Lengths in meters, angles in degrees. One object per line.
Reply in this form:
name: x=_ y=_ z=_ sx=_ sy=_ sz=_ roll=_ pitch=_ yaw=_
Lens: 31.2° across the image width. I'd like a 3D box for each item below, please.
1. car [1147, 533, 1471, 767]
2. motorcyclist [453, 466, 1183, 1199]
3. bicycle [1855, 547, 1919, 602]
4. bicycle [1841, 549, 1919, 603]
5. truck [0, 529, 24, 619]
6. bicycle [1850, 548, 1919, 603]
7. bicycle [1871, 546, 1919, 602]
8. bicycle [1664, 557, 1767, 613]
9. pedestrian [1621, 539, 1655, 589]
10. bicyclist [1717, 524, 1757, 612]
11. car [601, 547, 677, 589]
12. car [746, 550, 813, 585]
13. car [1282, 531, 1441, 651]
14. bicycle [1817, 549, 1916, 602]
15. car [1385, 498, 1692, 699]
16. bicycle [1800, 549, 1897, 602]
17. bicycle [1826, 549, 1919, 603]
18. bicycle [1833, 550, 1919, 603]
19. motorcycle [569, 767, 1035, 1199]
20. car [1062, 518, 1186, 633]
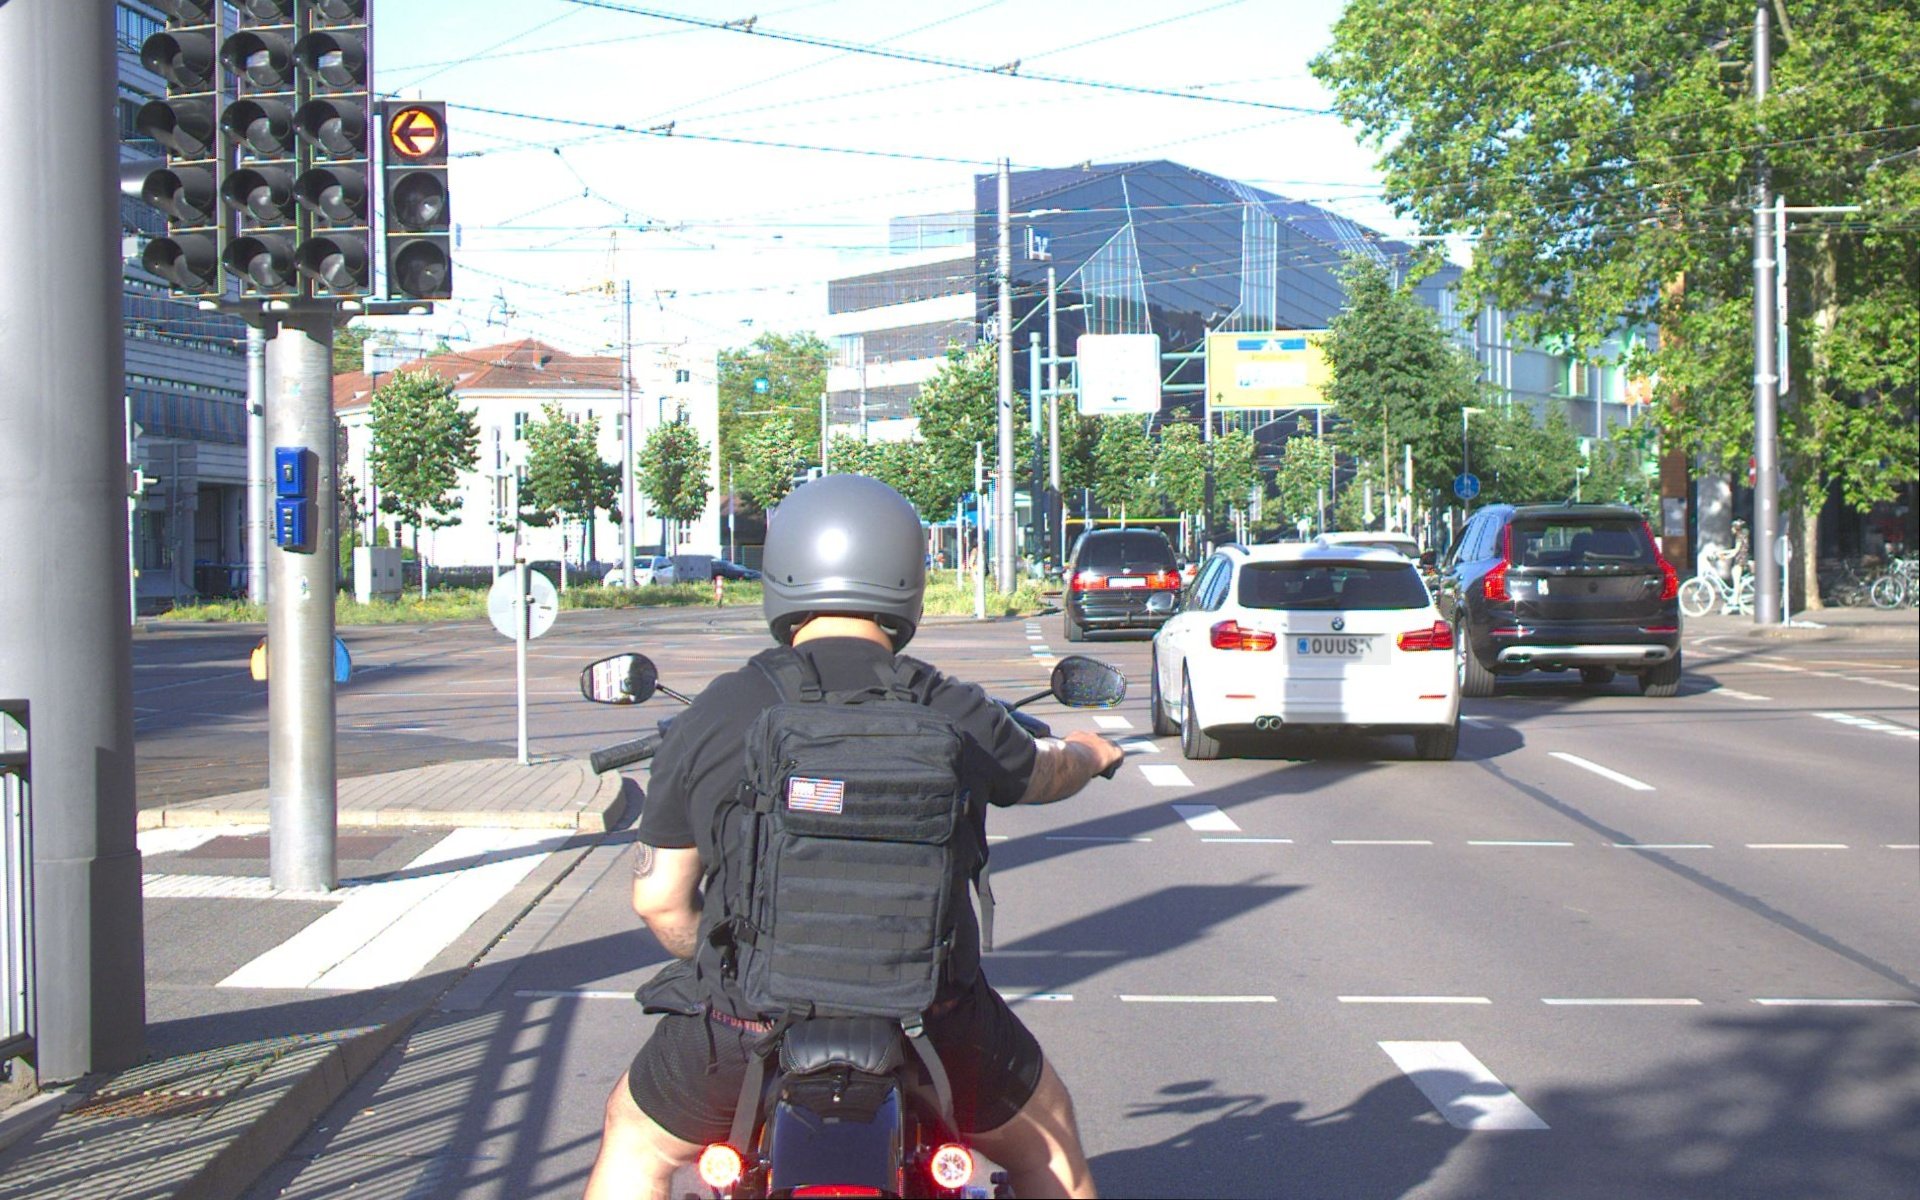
car: x=2.326 y=0.308 z=23.937 sx=1.731 sy=1.452 sz=4.418 roll=1 pitch=0 yaw=-1
motorcyclist: x=-0.204 y=0.598 z=5.331 sx=1.030 sy=1.588 sz=0.873 roll=0 pitch=1 yaw=-1
bicycle: x=18.311 y=-0.483 z=66.506 sx=1.880 sy=1.043 sz=0.360 roll=1 pitch=0 yaw=-1
bicycle: x=18.387 y=-0.465 z=67.880 sx=1.880 sy=1.043 sz=0.360 roll=1 pitch=1 yaw=-1
truck: x=-21.147 y=-0.499 z=70.478 sx=1.994 sy=1.873 sz=5.155 roll=-3 pitch=0 yaw=6
bicycle: x=18.424 y=-0.473 z=67.323 sx=1.880 sy=1.043 sz=0.360 roll=1 pitch=0 yaw=-1
bicycle: x=18.420 y=-0.489 z=65.725 sx=1.880 sy=1.043 sz=0.360 roll=1 pitch=0 yaw=-1
bicycle: x=14.353 y=-0.283 z=65.310 sx=1.872 sy=1.040 sz=0.536 roll=0 pitch=0 yaw=19
pedestrian: x=17.900 y=-0.959 z=90.768 sx=0.819 sy=1.309 sz=0.637 roll=1 pitch=0 yaw=9
bicyclist: x=14.732 y=-0.598 z=65.183 sx=0.688 sy=1.667 sz=0.540 roll=0 pitch=0 yaw=19
car: x=-11.585 y=-1.161 z=124.316 sx=1.825 sy=1.425 sz=4.529 roll=0 pitch=1 yaw=7
car: x=-7.639 y=-1.369 z=145.766 sx=1.826 sy=1.426 sz=4.239 roll=1 pitch=0 yaw=11
car: x=5.682 y=-0.161 z=49.026 sx=1.731 sy=1.593 sz=4.041 roll=1 pitch=1 yaw=0
bicycle: x=18.317 y=-0.494 z=69.496 sx=1.880 sy=1.043 sz=0.360 roll=1 pitch=1 yaw=-1
car: x=5.315 y=-0.076 z=32.187 sx=1.731 sy=1.726 sz=4.613 roll=1 pitch=2 yaw=-5
bicycle: x=18.264 y=-0.510 z=70.647 sx=1.880 sy=1.043 sz=0.360 roll=1 pitch=1 yaw=-1
bicycle: x=18.386 y=-0.484 z=68.997 sx=1.880 sy=1.043 sz=0.360 roll=1 pitch=1 yaw=-1
bicycle: x=18.391 y=-0.469 z=68.512 sx=1.880 sy=1.043 sz=0.360 roll=1 pitch=0 yaw=-1
motorcycle: x=-0.224 y=0.871 z=5.597 sx=0.600 sy=1.032 sz=2.234 roll=1 pitch=1 yaw=-1
car: x=2.507 y=-0.372 z=52.880 sx=1.803 sy=1.672 sz=4.040 roll=1 pitch=0 yaw=2
